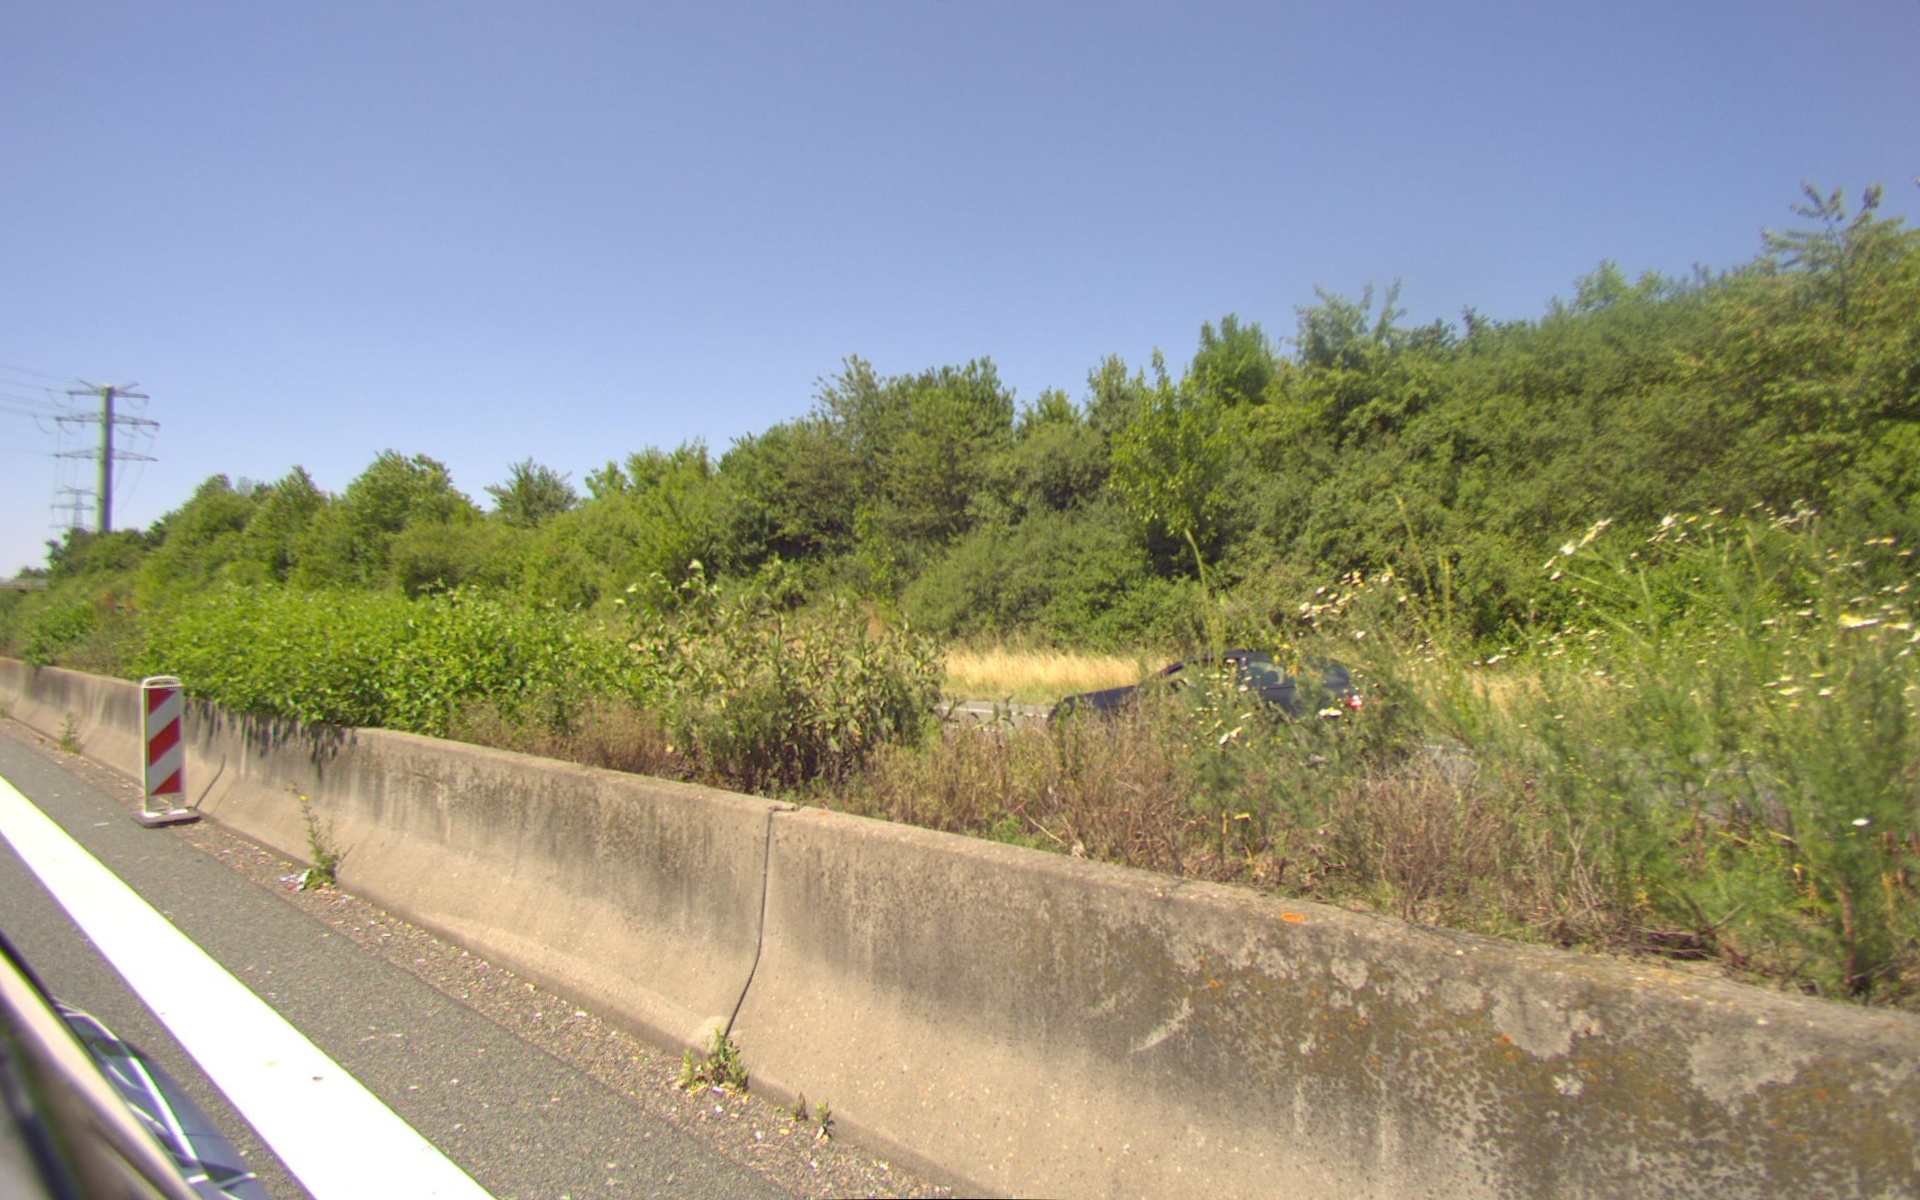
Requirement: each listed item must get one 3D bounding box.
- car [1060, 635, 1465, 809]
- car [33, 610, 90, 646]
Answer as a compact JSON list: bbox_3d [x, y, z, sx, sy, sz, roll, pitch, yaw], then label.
[{"bbox_3d":[3.253,1.194,11.326,3.998,1.498,1.723,-1,0,41],"label":"car"},{"bbox_3d":[-77.319,2.332,87.041,7.673,2.894,2.733,-1,0,41],"label":"car"}]
